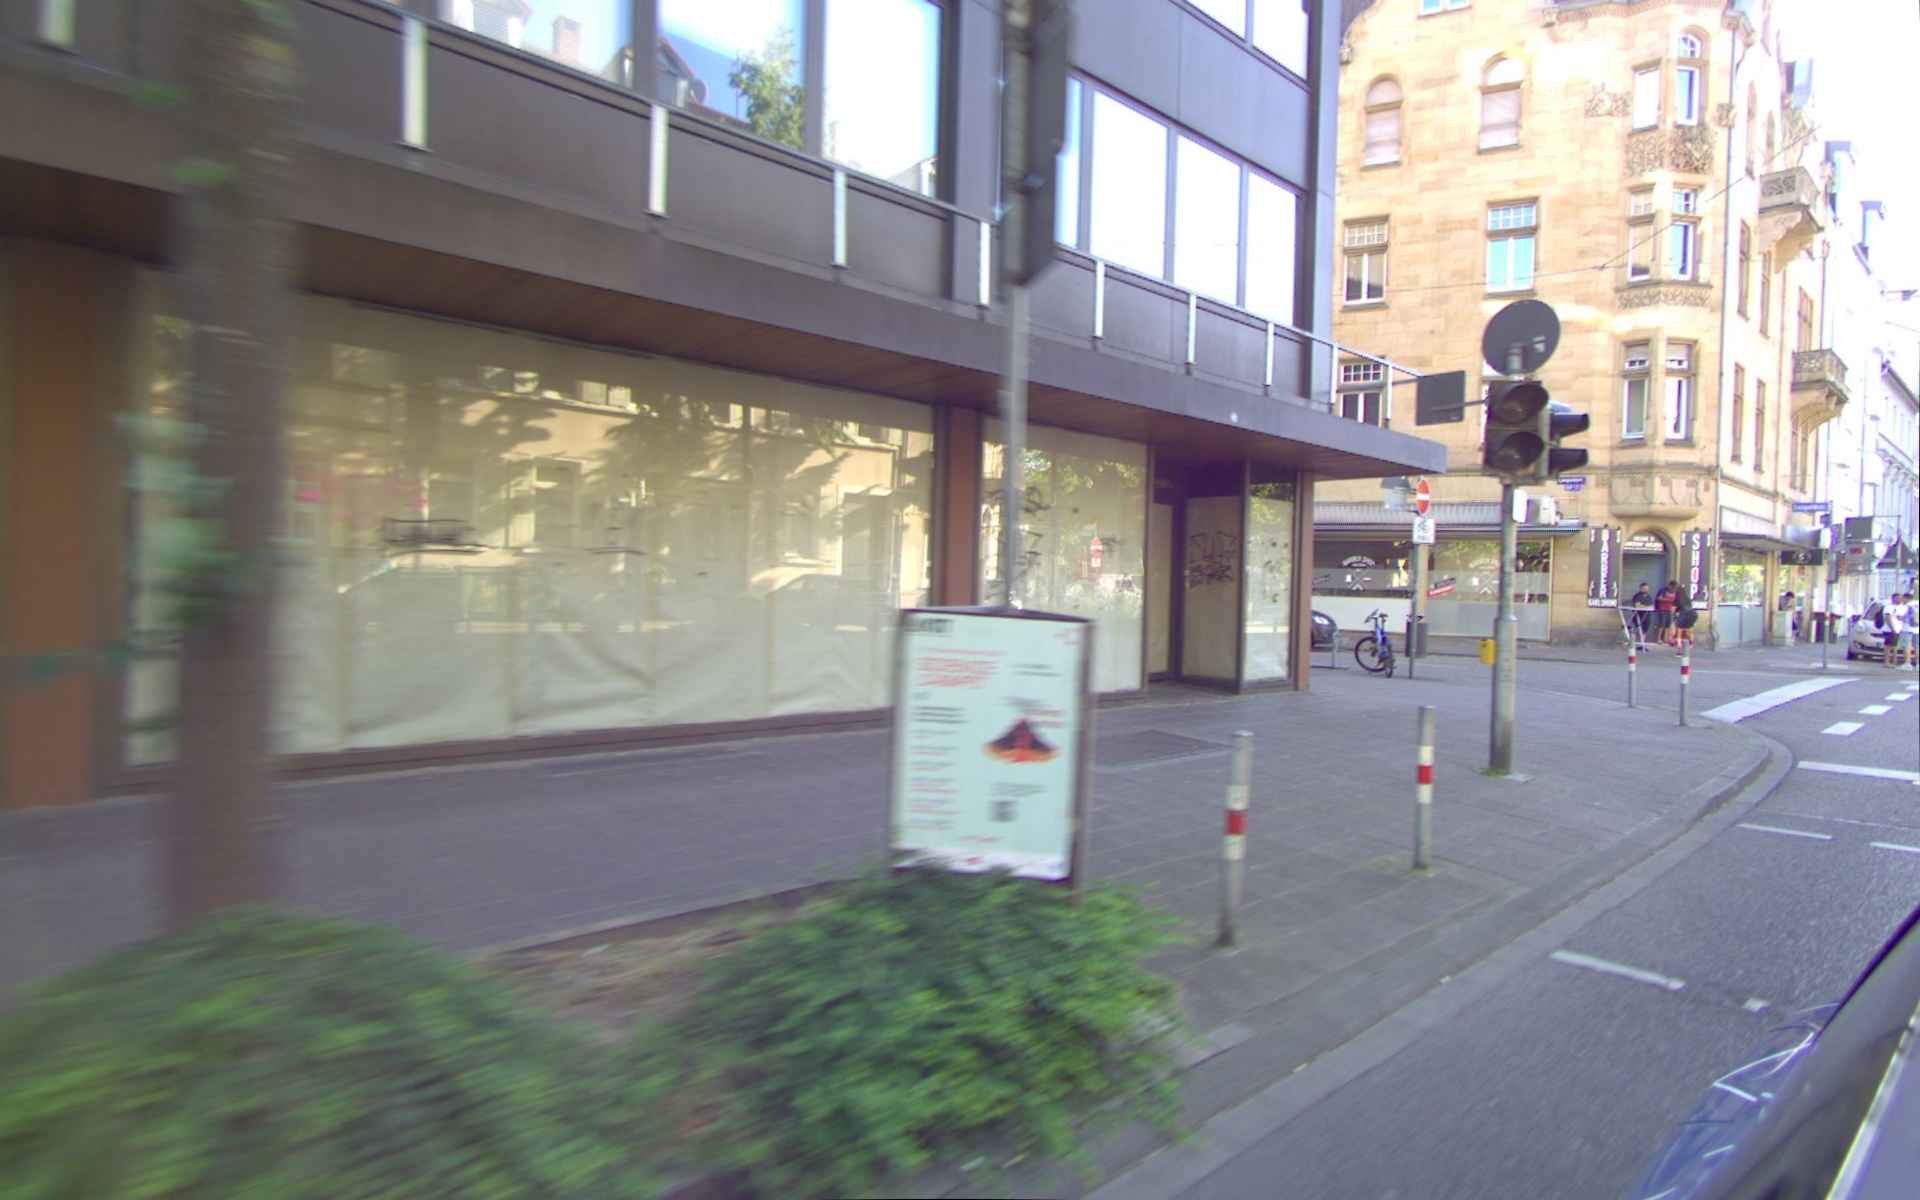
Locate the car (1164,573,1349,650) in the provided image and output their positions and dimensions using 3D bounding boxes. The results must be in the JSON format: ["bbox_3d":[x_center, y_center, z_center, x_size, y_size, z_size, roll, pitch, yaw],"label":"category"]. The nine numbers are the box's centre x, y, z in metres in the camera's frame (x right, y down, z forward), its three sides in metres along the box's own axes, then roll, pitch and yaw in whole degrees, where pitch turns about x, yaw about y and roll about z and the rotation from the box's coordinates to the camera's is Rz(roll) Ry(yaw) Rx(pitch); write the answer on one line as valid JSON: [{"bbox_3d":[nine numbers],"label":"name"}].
[{"bbox_3d":[7.546,0.237,25.752,4.273,1.793,1.983,1,1,26],"label":"car"}]

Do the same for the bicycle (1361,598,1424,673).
[{"bbox_3d":[7.341,0.574,17.234,0.564,1.176,1.740,2,0,10],"label":"bicycle"}]

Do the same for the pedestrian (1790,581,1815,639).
[{"bbox_3d":[26.106,0.298,31.366,0.534,1.764,0.588,1,0,45],"label":"pedestrian"}]

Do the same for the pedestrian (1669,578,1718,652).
[{"bbox_3d":[17.407,0.340,24.022,0.663,1.712,0.619,1,2,3],"label":"pedestrian"}]

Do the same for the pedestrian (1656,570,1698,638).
[{"bbox_3d":[18.245,0.091,25.758,0.701,1.713,0.500,0,1,-14],"label":"pedestrian"}]

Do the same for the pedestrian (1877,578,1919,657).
[{"bbox_3d":[21.573,0.398,23.101,0.692,1.740,0.689,4,2,26],"label":"pedestrian"}]

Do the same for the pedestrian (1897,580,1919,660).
[{"bbox_3d":[21.539,0.456,22.431,0.876,1.740,0.697,2,2,-16],"label":"pedestrian"}]

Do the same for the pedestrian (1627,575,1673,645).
[{"bbox_3d":[17.264,0.238,25.340,0.701,1.713,0.621,0,1,-14],"label":"pedestrian"}]

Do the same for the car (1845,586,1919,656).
[{"bbox_3d":[24.298,0.526,25.830,4.054,1.593,1.978,0,3,-41],"label":"car"}]

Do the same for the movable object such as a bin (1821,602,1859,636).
[{"bbox_3d":[30.412,0.652,34.974,0.650,1.061,0.727,3,2,-31],"label":"movable object such as a bin"}]
